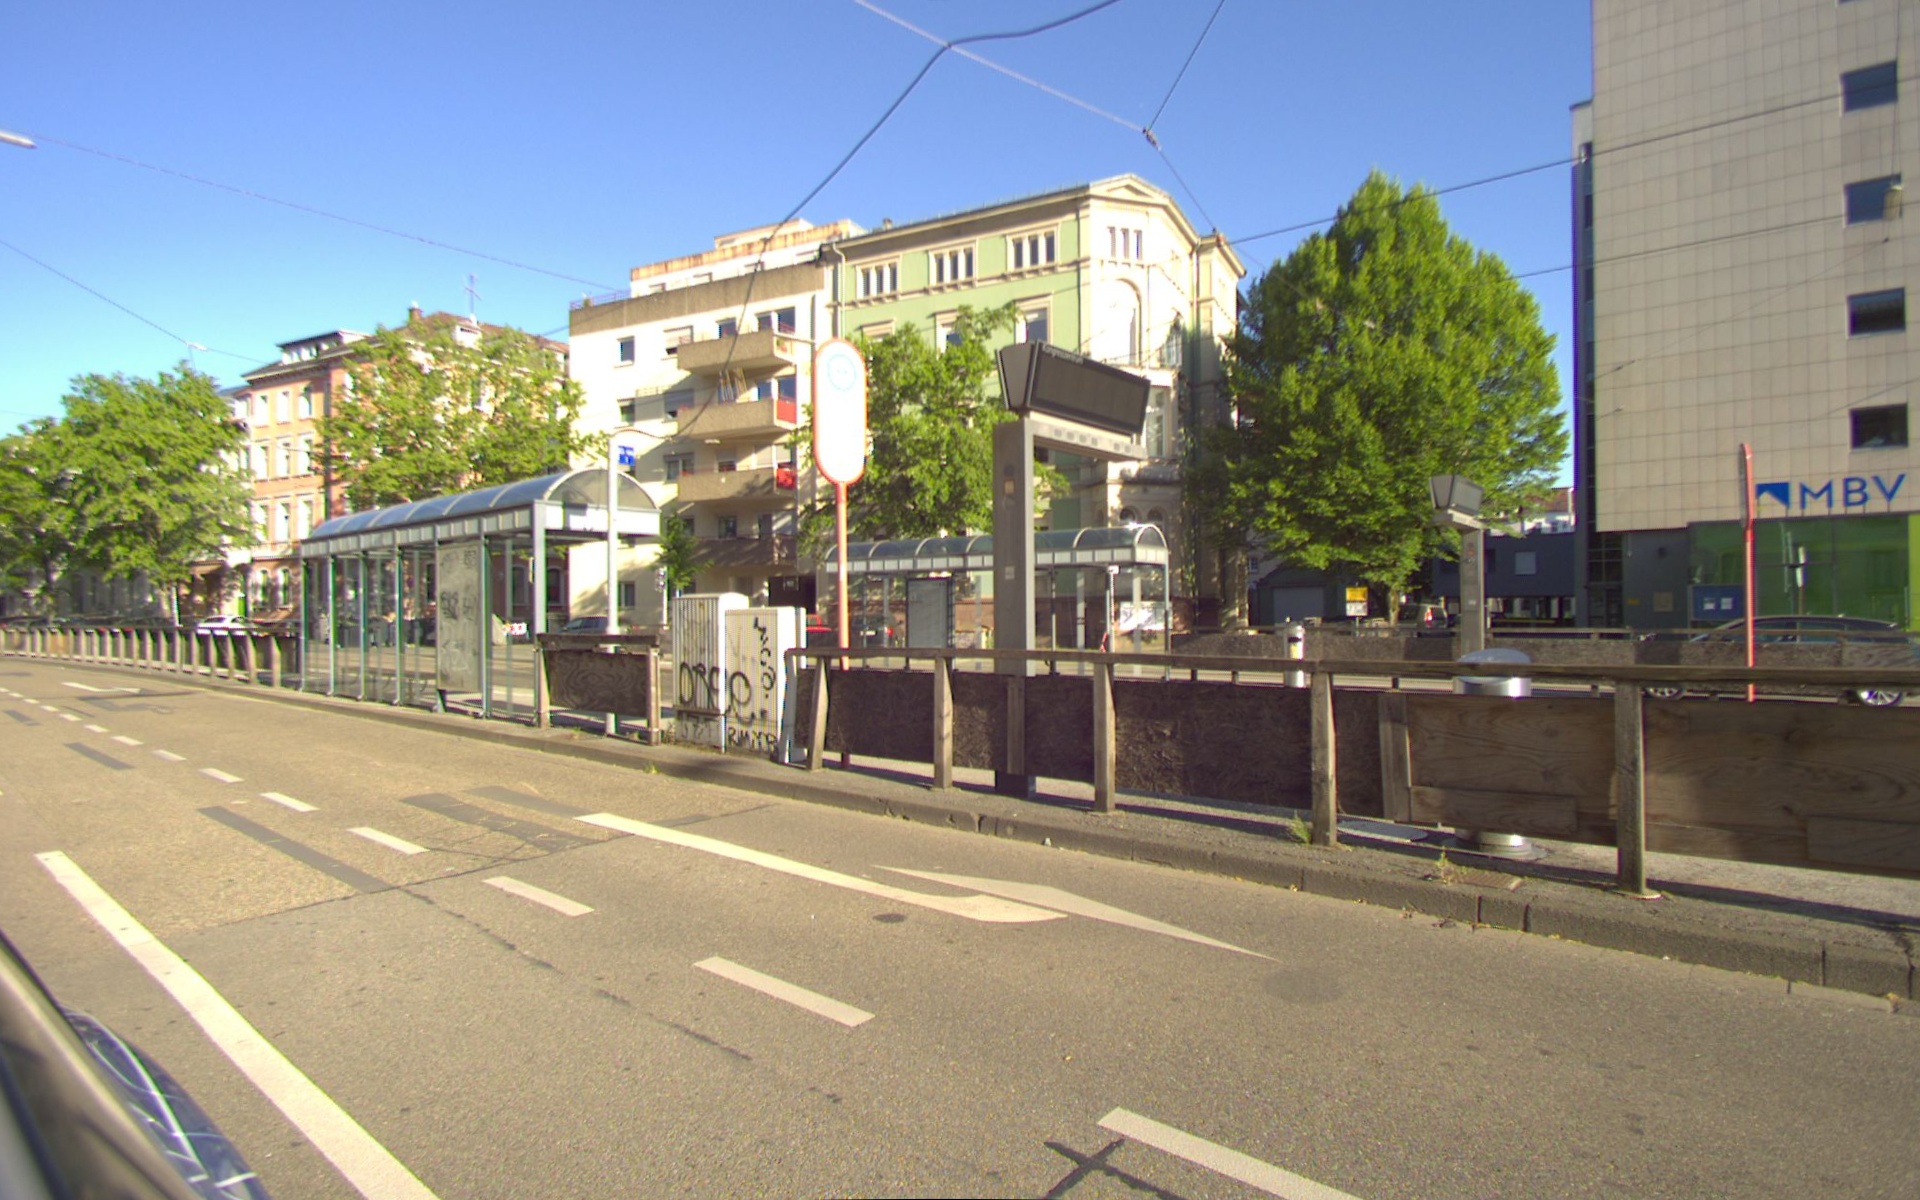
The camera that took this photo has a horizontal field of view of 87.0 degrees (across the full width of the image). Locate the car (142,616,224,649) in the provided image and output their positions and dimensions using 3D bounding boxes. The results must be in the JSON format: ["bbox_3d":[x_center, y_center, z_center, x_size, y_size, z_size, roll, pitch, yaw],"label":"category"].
[{"bbox_3d":[-42.635,1.765,55.639,1.664,1.519,3.926,-2,1,-3],"label":"car"}]

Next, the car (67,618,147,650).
[{"bbox_3d":[-49.448,1.952,58.789,1.609,1.629,3.993,-2,1,-7],"label":"car"}]

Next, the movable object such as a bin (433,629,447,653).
[{"bbox_3d":[-24.957,1.952,48.567,0.551,1.105,0.376,0,0,34],"label":"movable object such as a bin"}]

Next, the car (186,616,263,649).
[{"bbox_3d":[-39.447,1.708,54.419,1.708,1.533,3.924,-2,1,-9],"label":"car"}]

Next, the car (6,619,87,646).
[{"bbox_3d":[-57.863,2.065,64.174,1.745,1.496,3.823,-1,1,-1],"label":"car"}]

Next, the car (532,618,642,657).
[{"bbox_3d":[-14.267,1.412,38.651,4.278,1.421,1.693,-1,-1,32],"label":"car"}]

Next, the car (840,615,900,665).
[{"bbox_3d":[-2.980,1.259,33.699,1.845,1.436,4.520,0,1,-5],"label":"car"}]

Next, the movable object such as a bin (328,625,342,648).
[{"bbox_3d":[-29.756,1.745,48.173,0.639,1.076,0.375,-1,-1,40],"label":"movable object such as a bin"}]

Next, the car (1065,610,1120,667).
[{"bbox_3d":[4.196,1.148,31.876,1.572,1.581,4.504,0,1,8],"label":"car"}]

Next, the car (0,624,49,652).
[{"bbox_3d":[-60.911,2.425,64.812,1.748,1.666,3.871,-1,1,-1],"label":"car"}]

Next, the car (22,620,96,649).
[{"bbox_3d":[-55.488,2.104,62.386,1.682,1.544,3.284,-2,2,-3],"label":"car"}]

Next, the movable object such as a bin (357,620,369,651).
[{"bbox_3d":[-28.435,1.692,48.216,0.385,1.437,0.375,-1,-1,40],"label":"movable object such as a bin"}]

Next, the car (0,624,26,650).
[{"bbox_3d":[-64.100,2.488,66.592,1.748,1.666,3.872,-1,1,-1],"label":"car"}]

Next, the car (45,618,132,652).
[{"bbox_3d":[-52.246,2.044,60.797,1.682,1.735,4.291,0,2,-4],"label":"car"}]

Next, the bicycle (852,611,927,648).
[{"bbox_3d":[-2.778,1.143,39.519,2.995,1.409,0.713,-1,-1,27],"label":"bicycle"}]

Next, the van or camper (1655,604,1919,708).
[{"bbox_3d":[13.438,0.866,16.400,3.523,1.514,1.580,0,-3,38],"label":"van or camper"}]

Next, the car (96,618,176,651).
[{"bbox_3d":[-46.860,1.938,57.648,1.609,1.629,3.993,-2,1,-7],"label":"car"}]
